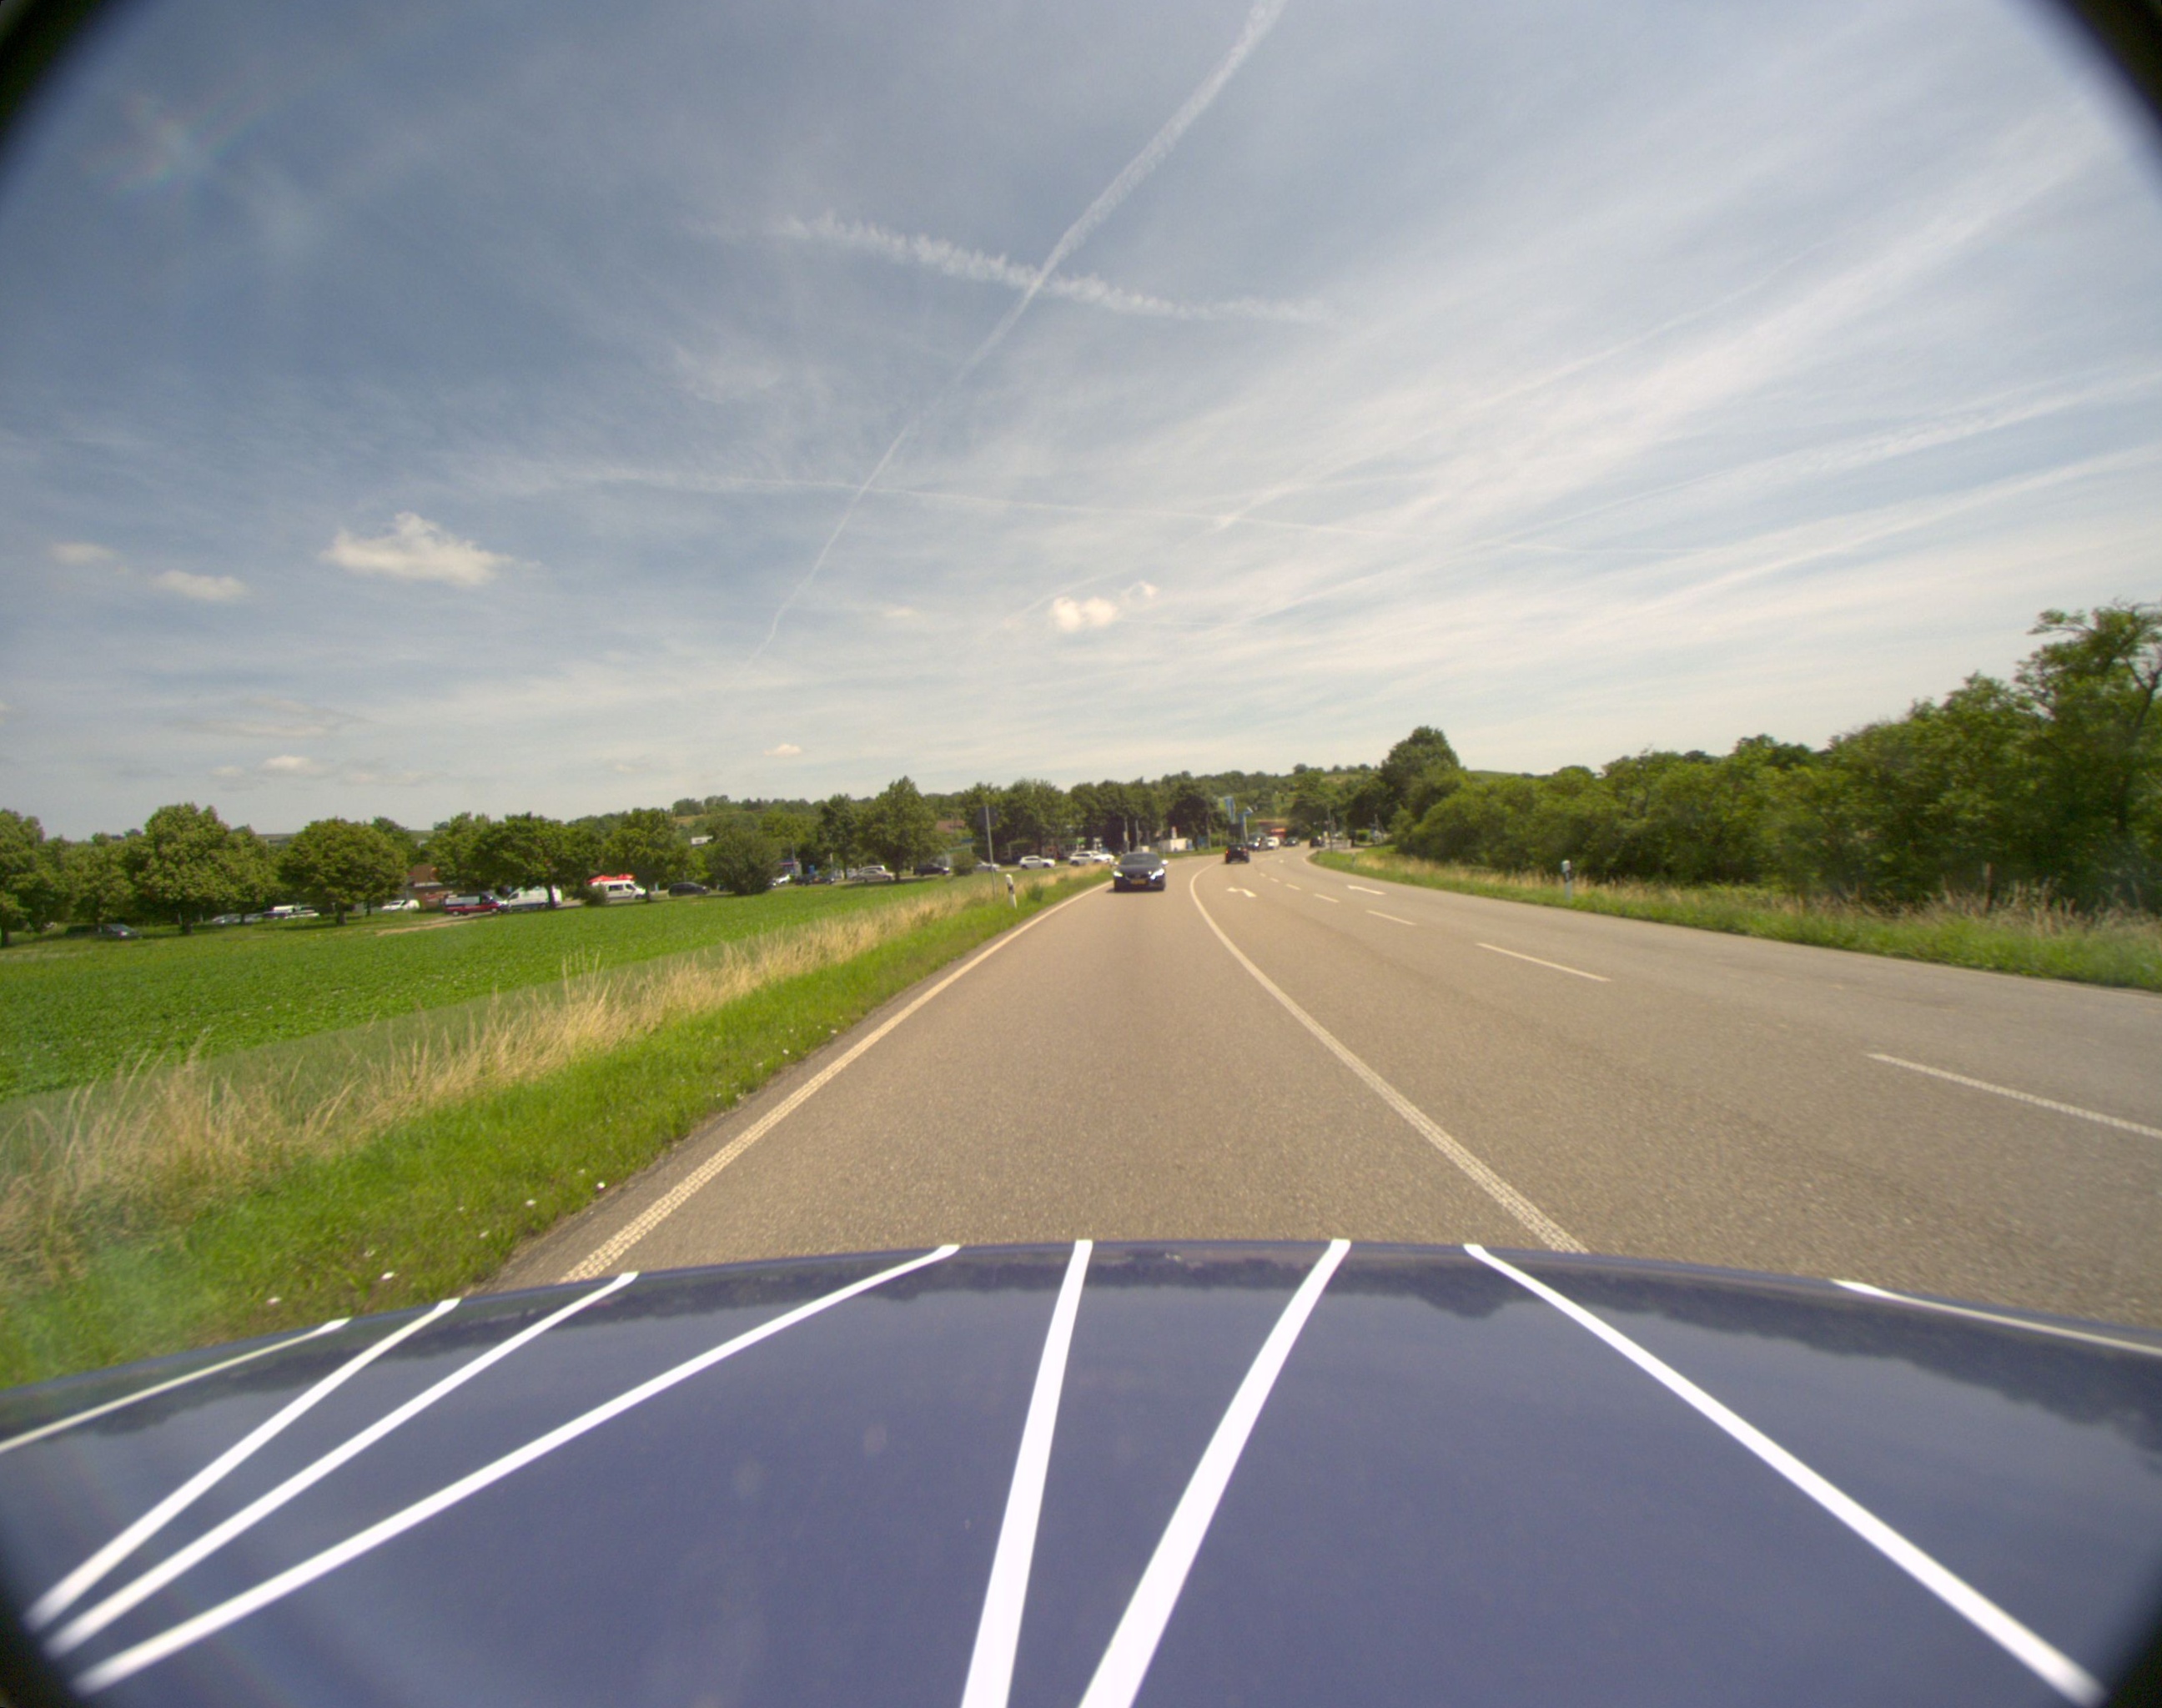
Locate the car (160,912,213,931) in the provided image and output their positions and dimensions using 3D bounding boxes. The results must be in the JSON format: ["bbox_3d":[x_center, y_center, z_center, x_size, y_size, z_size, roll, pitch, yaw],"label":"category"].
[{"bbox_3d":[-112.534,8.481,95.629,4.000,1.814,1.732,-5,3,-9],"label":"car"}]

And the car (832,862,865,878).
[{"bbox_3d":[-32.339,2.229,105.656,3.999,1.814,1.821,-5,2,-8],"label":"car"}]

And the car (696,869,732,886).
[{"bbox_3d":[-48.473,3.050,100.411,4.004,1.814,1.819,-5,3,-24],"label":"car"}]

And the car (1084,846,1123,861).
[{"bbox_3d":[2.533,-0.064,86.727,3.963,1.411,1.830,-3,3,25],"label":"car"}]

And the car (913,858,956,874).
[{"bbox_3d":[-17.175,1.397,89.355,4.558,1.501,1.800,-3,2,1],"label":"car"}]

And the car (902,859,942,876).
[{"bbox_3d":[-19.982,1.701,95.512,4.524,1.683,1.866,-4,3,-2],"label":"car"}]

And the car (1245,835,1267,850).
[{"bbox_3d":[23.787,-1.610,103.058,1.806,1.723,4.005,-3,3,29],"label":"car"}]

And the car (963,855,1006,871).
[{"bbox_3d":[-11.310,1.058,89.135,4.557,1.502,1.801,-3,2,5],"label":"car"}]

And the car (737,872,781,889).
[{"bbox_3d":[-36.798,3.014,86.888,4.234,1.502,1.798,-5,2,-13],"label":"car"}]

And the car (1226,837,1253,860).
[{"bbox_3d":[12.955,-0.449,61.904,1.773,1.649,4.003,-2,2,16],"label":"car"}]

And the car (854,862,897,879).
[{"bbox_3d":[-25.019,1.952,92.528,4.522,1.683,1.866,-4,3,2],"label":"car"}]

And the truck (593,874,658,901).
[{"bbox_3d":[-50.399,3.728,84.249,5.641,2.353,2.050,-5,3,-17],"label":"truck"}]

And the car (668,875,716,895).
[{"bbox_3d":[-43.759,3.465,85.651,4.292,1.688,1.997,-5,2,-11],"label":"car"}]

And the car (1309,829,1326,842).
[{"bbox_3d":[34.133,-2.625,109.556,1.995,1.686,4.005,-2,2,23],"label":"car"}]

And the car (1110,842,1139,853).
[{"bbox_3d":[7.417,-1.129,129.900,4.637,1.613,1.995,-6,3,-39],"label":"car"}]

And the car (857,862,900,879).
[{"bbox_3d":[-23.663,1.939,88.969,4.560,1.502,1.799,-5,2,-5],"label":"car"}]

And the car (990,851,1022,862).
[{"bbox_3d":[-11.101,0.338,112.858,4.325,1.355,1.756,-5,3,-25],"label":"car"}]

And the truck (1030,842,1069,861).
[{"bbox_3d":[-5.183,-0.390,124.429,6.159,2.603,2.257,-5,2,-40],"label":"truck"}]

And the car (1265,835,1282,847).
[{"bbox_3d":[28.207,-1.921,111.352,1.780,1.485,4.162,-3,3,22],"label":"car"}]

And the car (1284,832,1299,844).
[{"bbox_3d":[34.536,-2.642,124.793,1.806,1.723,4.005,-3,1,23],"label":"car"}]

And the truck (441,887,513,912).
[{"bbox_3d":[-63.629,4.734,80.149,5.477,1.965,1.798,-5,3,-16],"label":"truck"}]

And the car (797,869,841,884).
[{"bbox_3d":[-30.466,2.604,88.431,4.562,1.266,1.798,-5,2,-11],"label":"car"}]

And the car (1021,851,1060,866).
[{"bbox_3d":[-4.633,0.556,87.674,4.099,1.410,1.802,-4,0,11],"label":"car"}]

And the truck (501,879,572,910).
[{"bbox_3d":[-61.628,4.525,86.114,5.944,2.723,2.069,-5,5,-14],"label":"truck"}]

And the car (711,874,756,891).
[{"bbox_3d":[-41.088,3.362,89.883,4.387,1.549,1.783,-4,0,-7],"label":"car"}]

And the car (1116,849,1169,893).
[{"bbox_3d":[2.263,0.560,28.099,1.782,1.484,4.159,-1,0,5],"label":"car"}]

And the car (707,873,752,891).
[{"bbox_3d":[-42.747,3.388,92.490,4.526,1.683,1.865,-4,3,-8],"label":"car"}]

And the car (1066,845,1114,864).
[{"bbox_3d":[0.975,0.032,82.246,4.631,1.598,2.000,-4,3,24],"label":"car"}]
